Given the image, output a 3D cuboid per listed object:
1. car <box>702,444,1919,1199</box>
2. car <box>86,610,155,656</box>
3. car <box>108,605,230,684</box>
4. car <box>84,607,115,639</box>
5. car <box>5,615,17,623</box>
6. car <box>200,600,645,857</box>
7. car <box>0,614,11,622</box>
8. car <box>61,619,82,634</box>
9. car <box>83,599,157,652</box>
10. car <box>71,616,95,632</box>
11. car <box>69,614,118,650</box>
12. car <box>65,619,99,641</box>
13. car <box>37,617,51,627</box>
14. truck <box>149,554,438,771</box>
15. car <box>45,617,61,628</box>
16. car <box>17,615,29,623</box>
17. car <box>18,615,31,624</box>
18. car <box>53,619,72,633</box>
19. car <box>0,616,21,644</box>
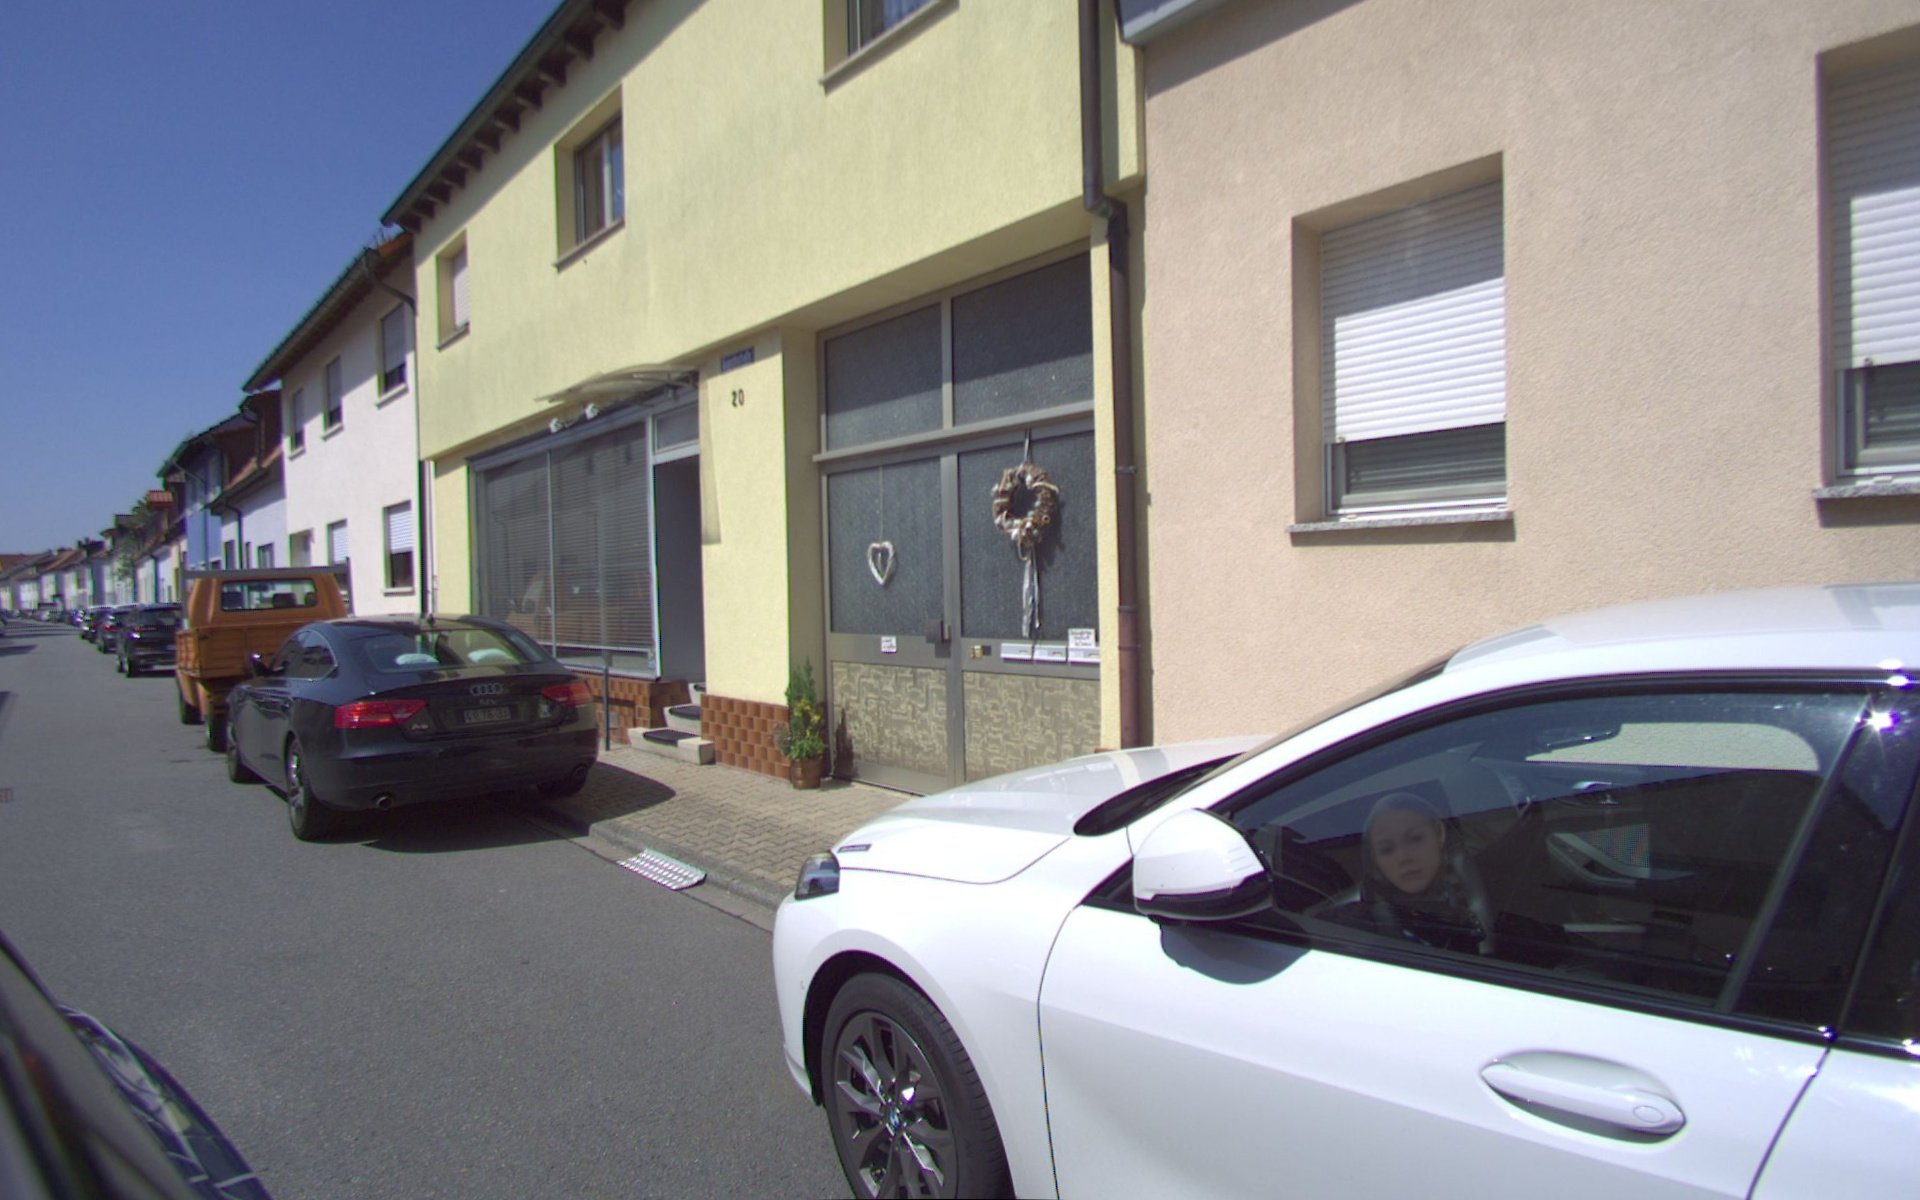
[{"bbox_3d":[1.353,0.571,1.754,1.760,1.465,4.221,-1,1,-41],"label":"car"},{"bbox_3d":[-30.010,1.137,36.132,1.699,1.513,4.219,-1,0,-42],"label":"car"},{"bbox_3d":[-18.263,0.962,23.303,1.823,1.626,4.004,-1,0,-43],"label":"car"},{"bbox_3d":[-50.833,1.343,59.786,1.276,1.845,2.967,-1,0,-42],"label":"car"},{"bbox_3d":[-148.683,2.913,158.603,1.276,1.193,2.967,-1,0,-42],"label":"car"},{"bbox_3d":[-4.411,0.730,7.883,1.899,1.405,4.636,2,-2,-43],"label":"car"},{"bbox_3d":[-156.053,2.948,165.198,2.961,1.193,1.279,-1,0,41],"label":"car"},{"bbox_3d":[-73.495,2.195,83.703,1.276,1.193,2.967,-1,0,-42],"label":"car"},{"bbox_3d":[-35.235,1.004,42.420,4.002,2.029,1.971,1,2,44],"label":"car"},{"bbox_3d":[-65.577,1.779,75.649,1.276,1.193,2.967,-1,0,-42],"label":"car"},{"bbox_3d":[-41.379,1.482,48.303,1.653,1.586,4.113,-1,0,-42],"label":"car"},{"bbox_3d":[-46.272,1.545,53.319,1.276,1.084,2.768,-1,0,-42],"label":"car"},{"bbox_3d":[-111.520,2.689,123.203,1.276,1.193,2.967,-1,0,-42],"label":"car"},{"bbox_3d":[-8.117,0.567,12.078,2.156,2.029,5.087,-1,1,-42],"label":"truck"},{"bbox_3d":[-99.642,2.437,111.189,1.276,1.193,2.967,-1,0,-42],"label":"car"},{"bbox_3d":[-139.905,2.792,151.131,1.276,1.193,2.967,-1,0,-42],"label":"car"},{"bbox_3d":[-134.043,2.775,145.023,1.276,1.193,2.967,-1,0,-42],"label":"car"},{"bbox_3d":[-84.062,2.415,94.762,1.276,1.193,2.967,-1,0,-42],"label":"car"},{"bbox_3d":[-56.374,1.752,59.400,1.823,1.543,3.552,-1,0,-43],"label":"car"}]
